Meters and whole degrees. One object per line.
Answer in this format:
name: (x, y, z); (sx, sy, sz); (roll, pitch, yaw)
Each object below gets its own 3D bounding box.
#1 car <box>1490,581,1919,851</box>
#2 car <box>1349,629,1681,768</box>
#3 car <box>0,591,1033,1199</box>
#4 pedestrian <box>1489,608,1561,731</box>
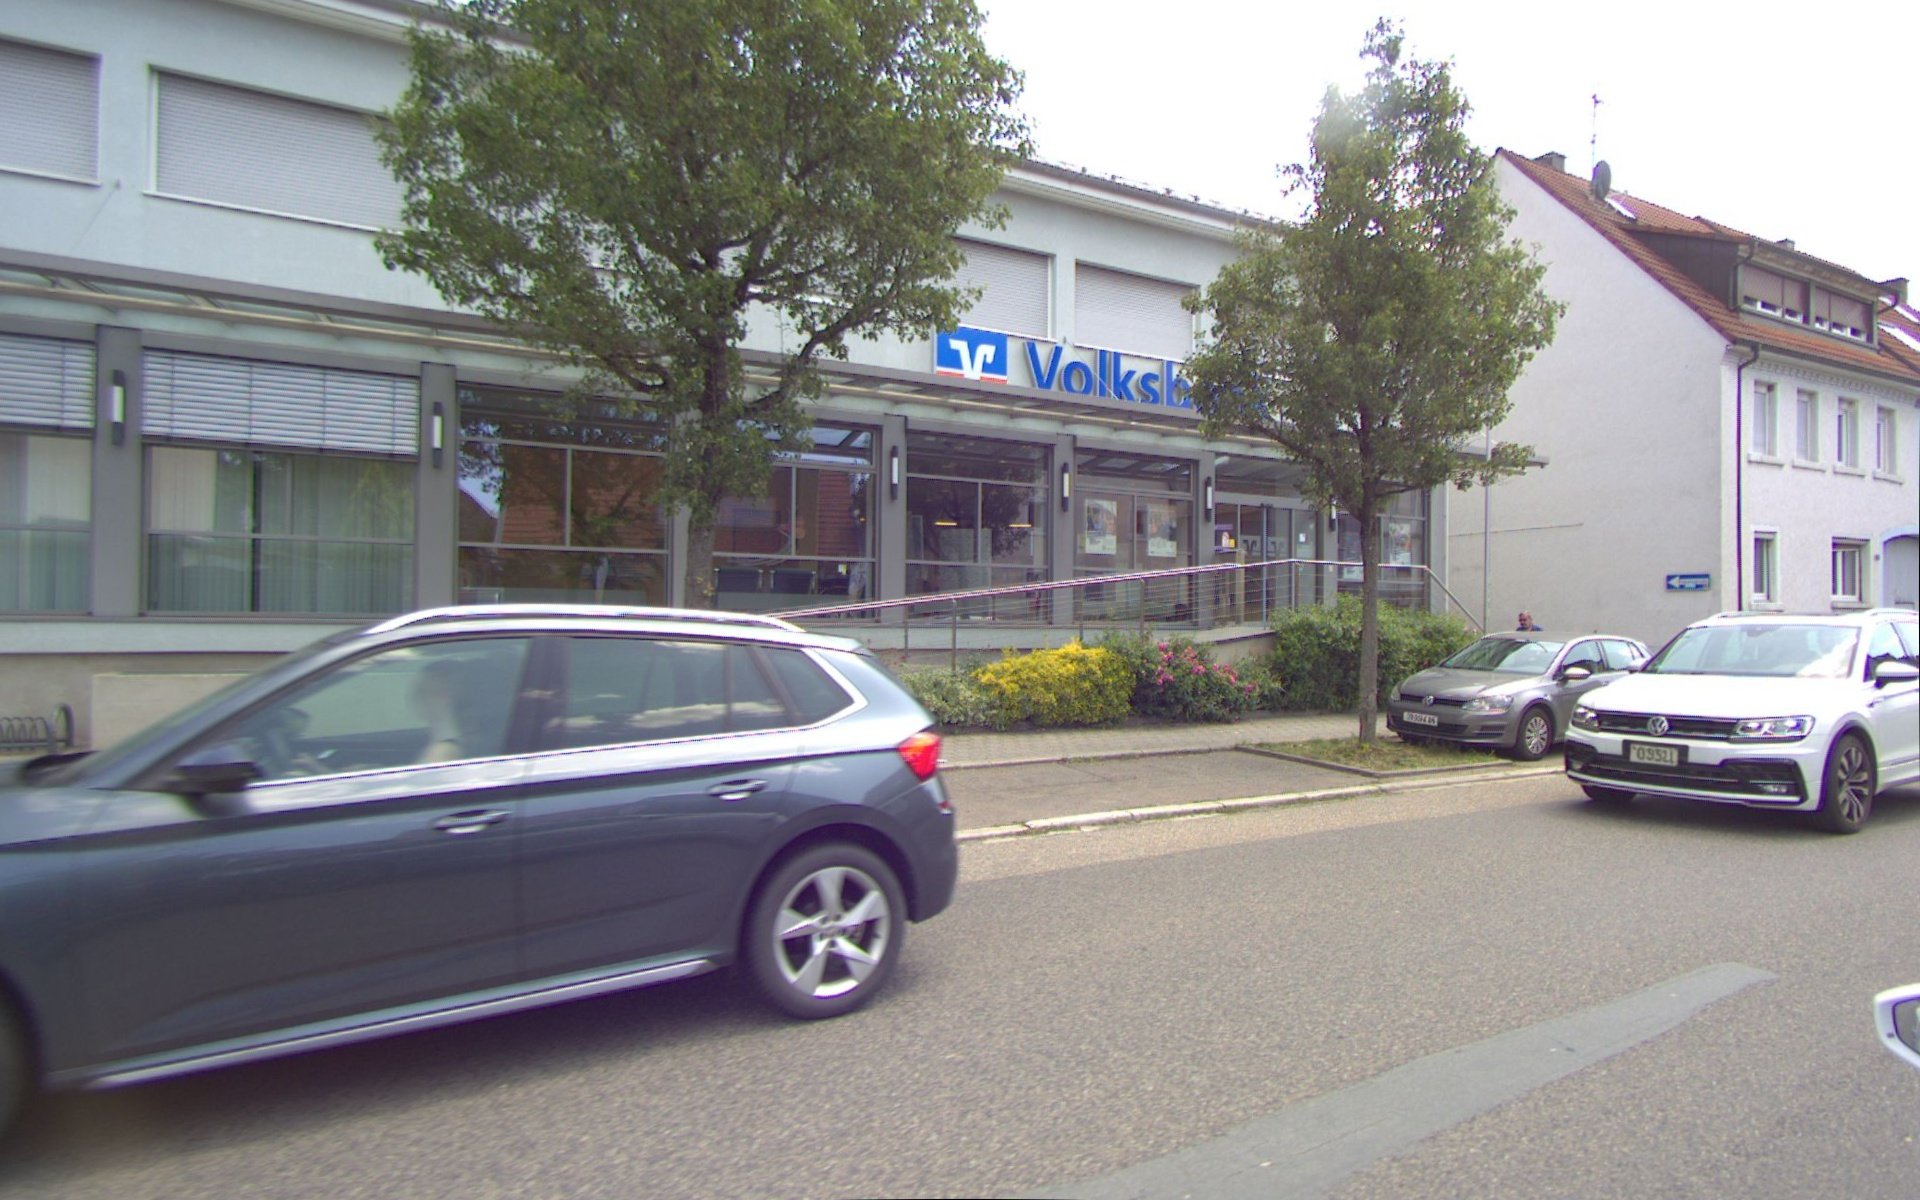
car: (6.968, 0.847, 8.670); (4.592, 1.808, 1.948); (1, -2, -27)
car: (7.034, 1.116, 12.666); (4.108, 1.480, 1.796); (1, -1, -29)
car: (-1.859, 0.812, 3.832); (3.971, 1.546, 1.736); (1, -3, -29)
pedestrian: (8.661, 1.055, 15.408); (0.635, 1.825, 0.735); (2, -3, -31)
